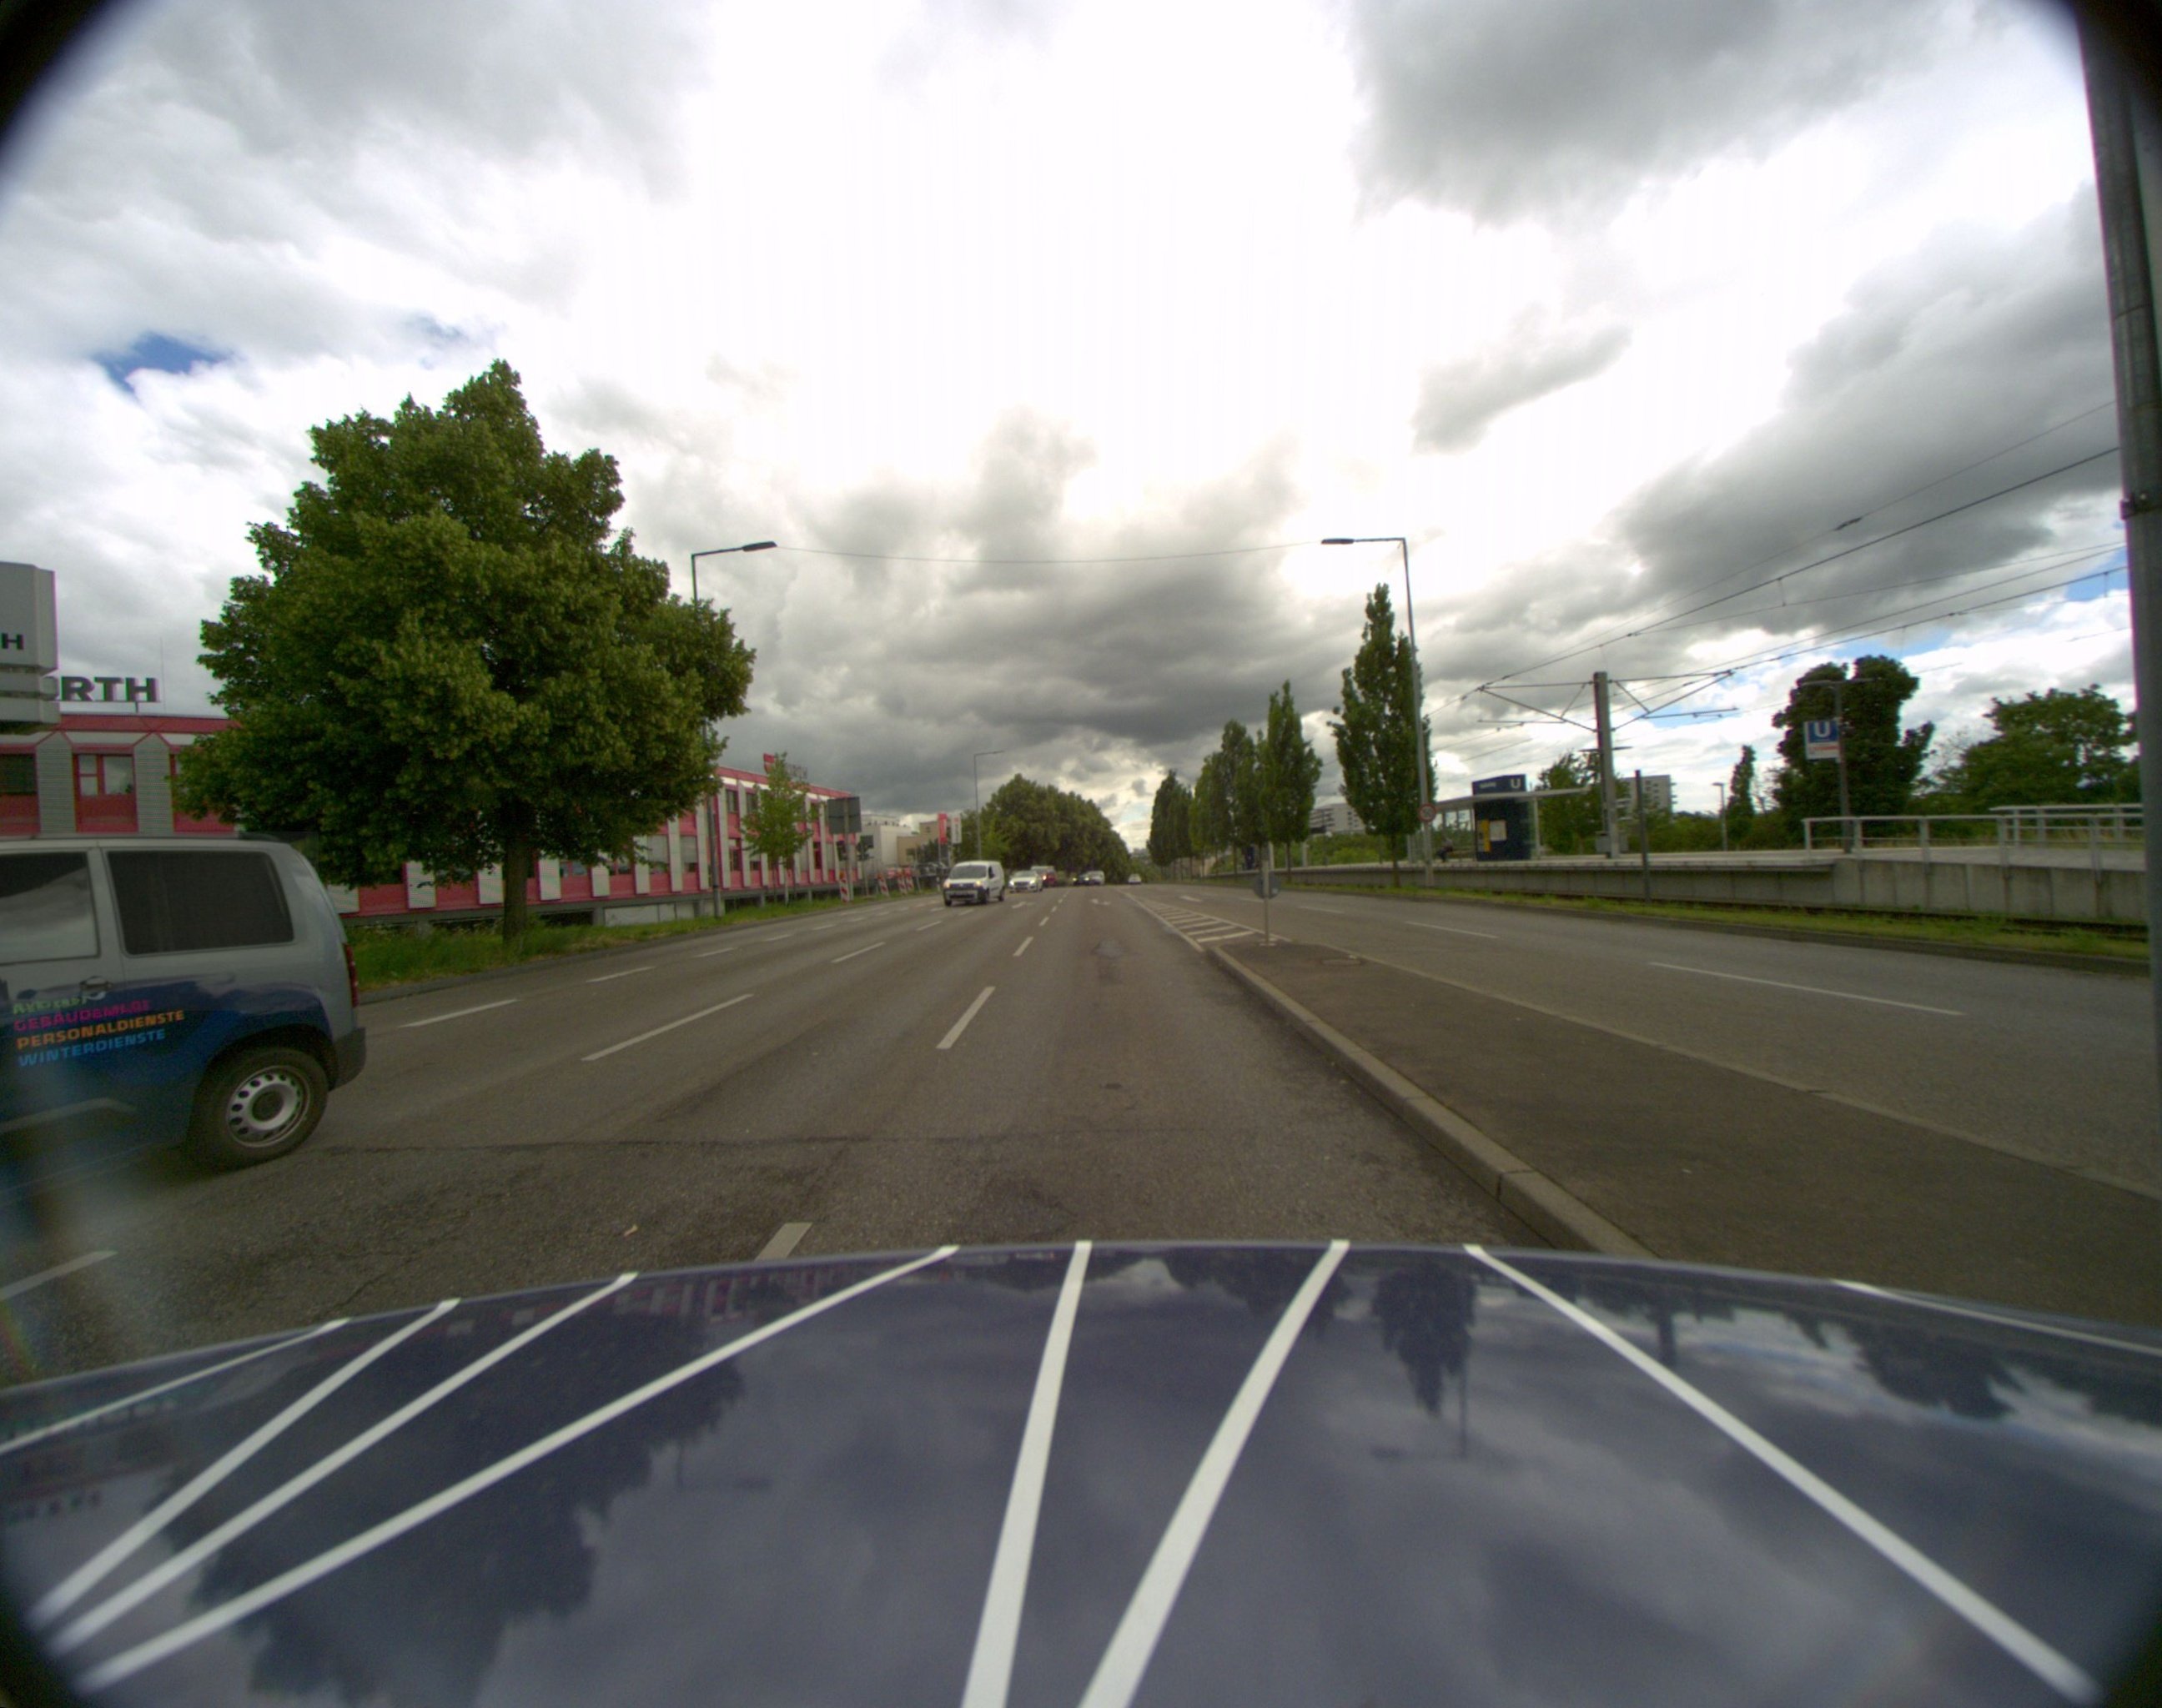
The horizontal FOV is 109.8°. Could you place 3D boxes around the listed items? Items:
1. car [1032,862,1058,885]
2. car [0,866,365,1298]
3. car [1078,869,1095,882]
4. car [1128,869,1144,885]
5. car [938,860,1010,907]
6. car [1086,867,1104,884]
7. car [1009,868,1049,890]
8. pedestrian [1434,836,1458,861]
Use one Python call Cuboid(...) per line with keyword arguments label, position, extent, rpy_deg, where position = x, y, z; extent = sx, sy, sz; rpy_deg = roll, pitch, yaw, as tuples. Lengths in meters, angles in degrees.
Cuboid(label="car", position=(-3.209, 1.785, 69.080), extent=(2.184, 1.893, 4.456), rpy_deg=(-2, -3, -1))
Cuboid(label="car", position=(-5.458, 0.998, 2.639), extent=(1.813, 1.769, 4.222), rpy_deg=(-2, 0, 1))
Cuboid(label="car", position=(0.656, 2.400, 85.004), extent=(1.813, 1.332, 4.225), rpy_deg=(-2, -3, 2))
Cuboid(label="car", position=(7.571, 3.153, 105.535), extent=(1.998, 2.002, 4.000), rpy_deg=(-2, 0, 3))
Cuboid(label="car", position=(-4.421, 1.182, 32.100), extent=(1.812, 1.781, 4.699), rpy_deg=(-2, -1, 6))
Cuboid(label="car", position=(1.745, 2.630, 94.816), extent=(1.949, 1.895, 5.238), rpy_deg=(-2, 0, 3))
Cuboid(label="car", position=(-3.363, 1.695, 50.003), extent=(1.812, 1.332, 4.226), rpy_deg=(-2, -3, 6))
Cuboid(label="pedestrian", position=(17.743, -0.282, 36.917), extent=(0.751, 1.169, 0.837), rpy_deg=(-2, 1, 0))
